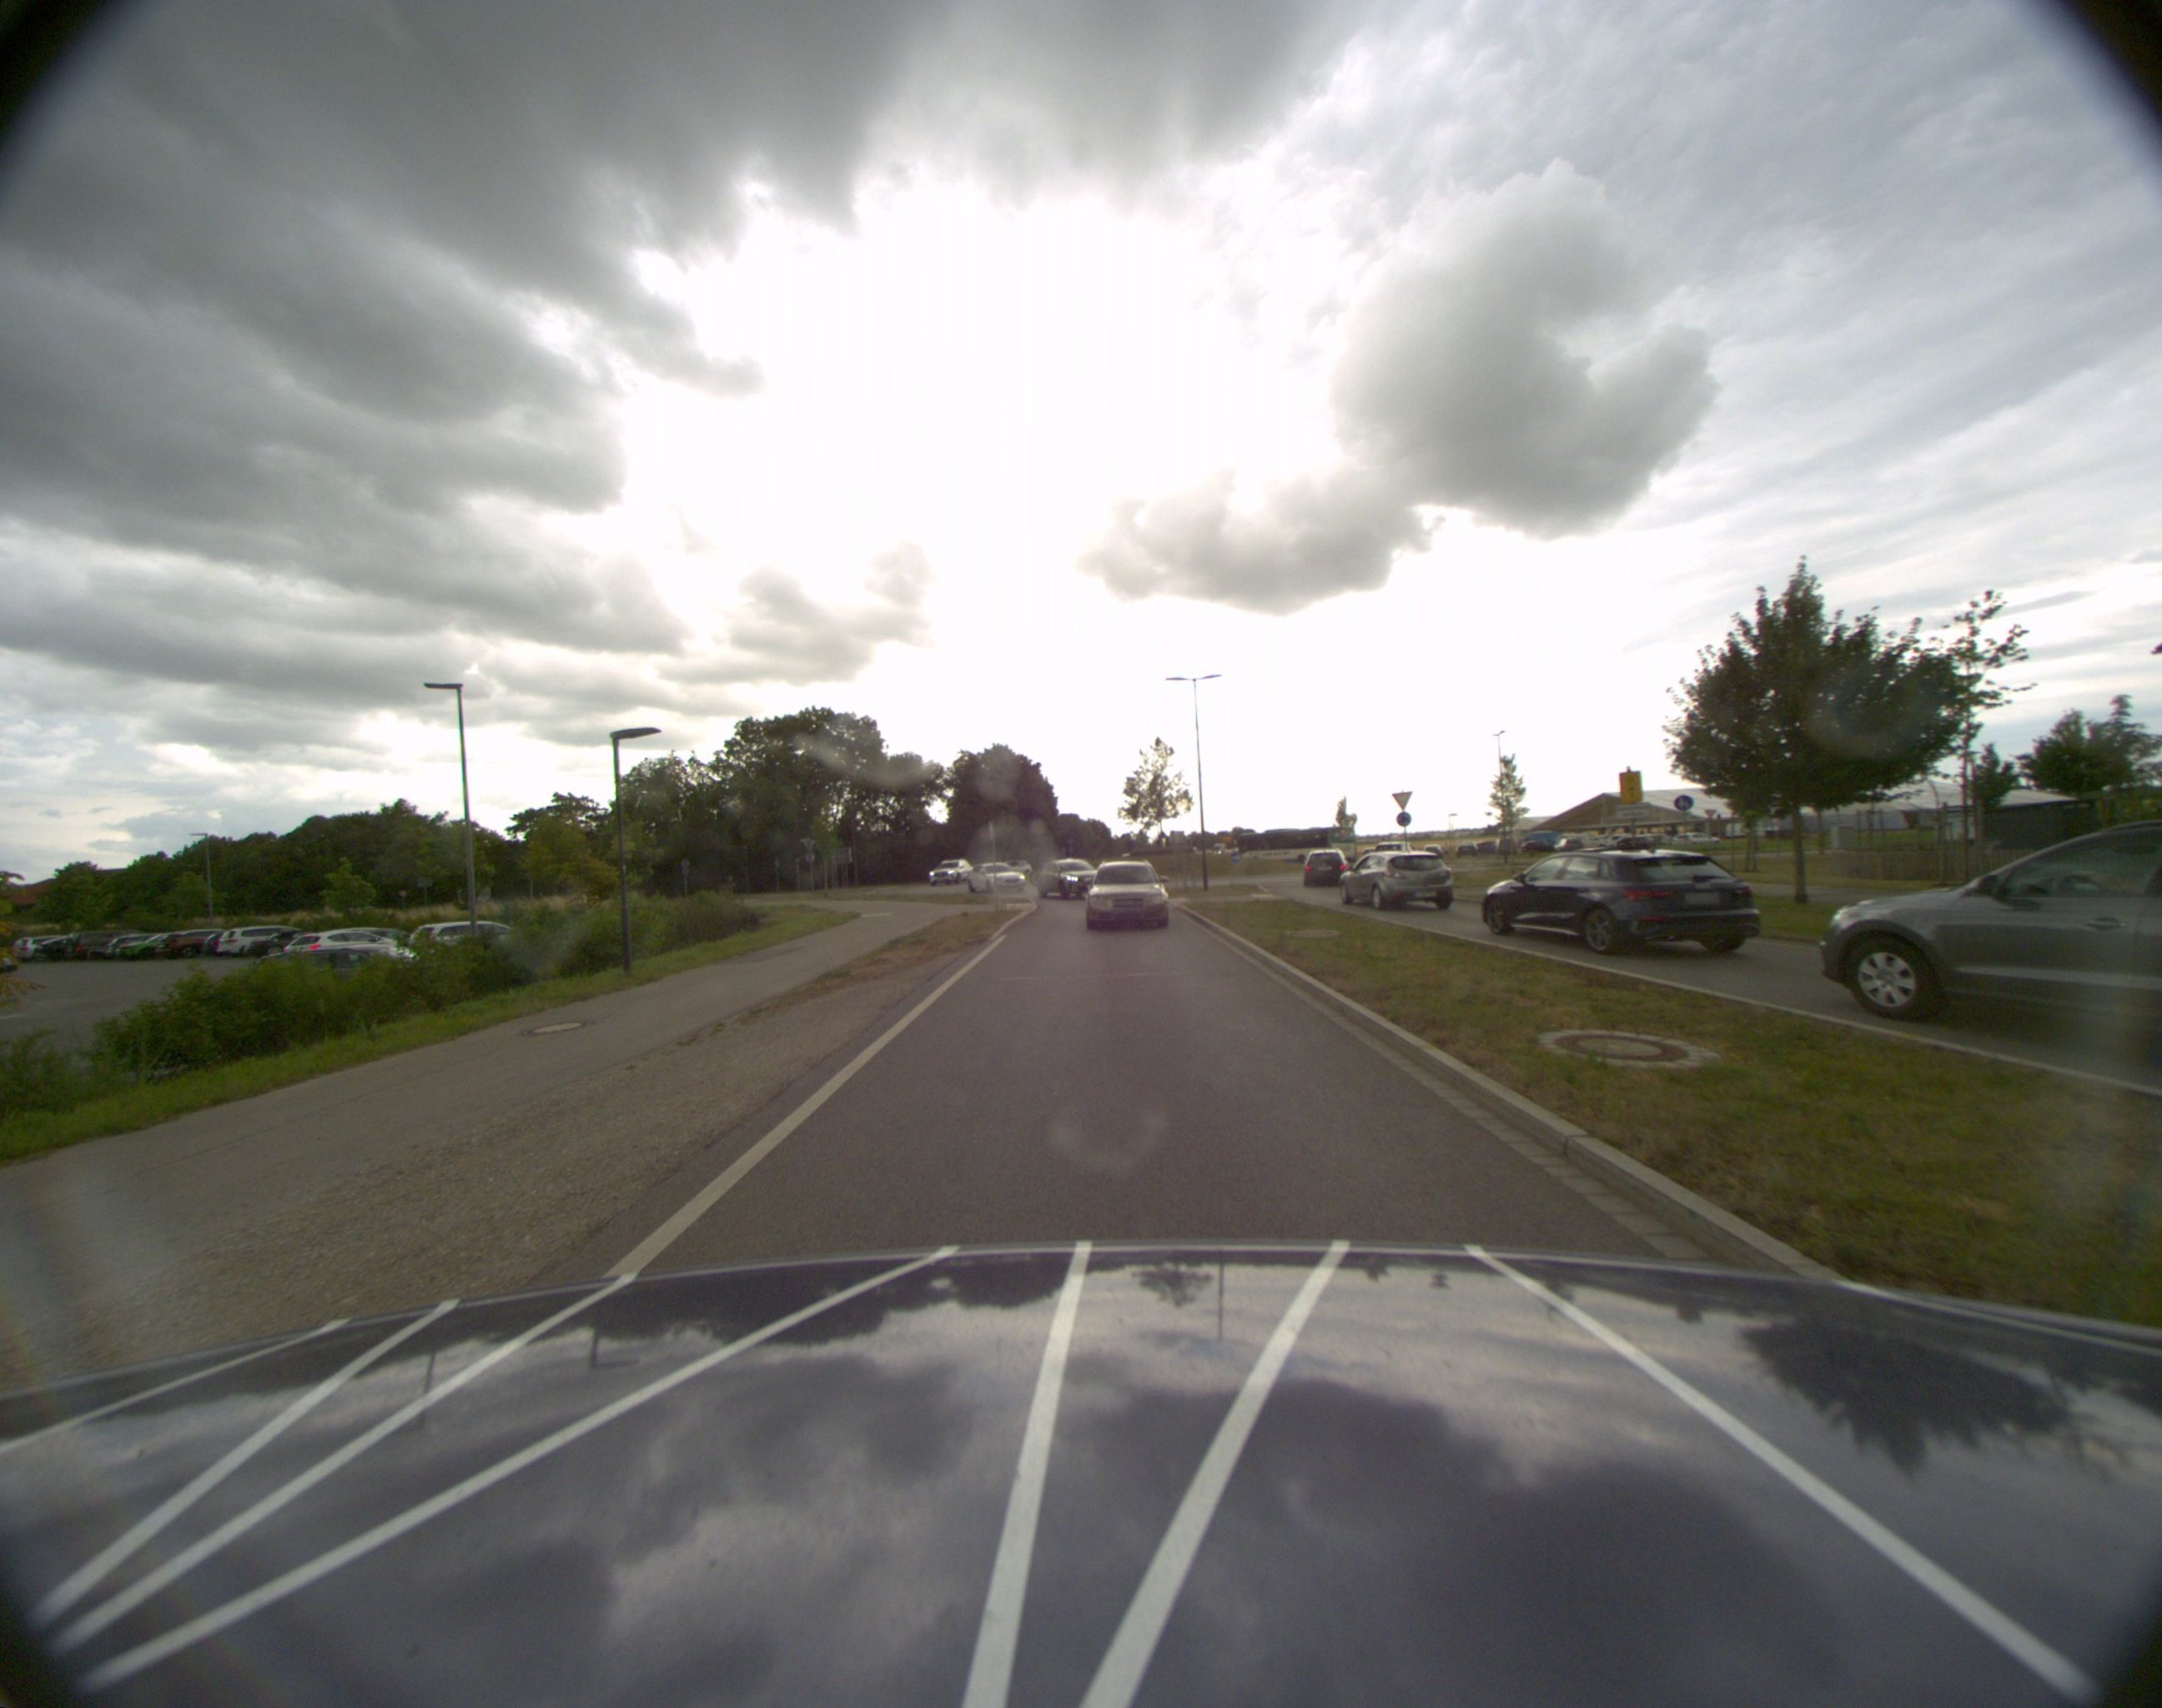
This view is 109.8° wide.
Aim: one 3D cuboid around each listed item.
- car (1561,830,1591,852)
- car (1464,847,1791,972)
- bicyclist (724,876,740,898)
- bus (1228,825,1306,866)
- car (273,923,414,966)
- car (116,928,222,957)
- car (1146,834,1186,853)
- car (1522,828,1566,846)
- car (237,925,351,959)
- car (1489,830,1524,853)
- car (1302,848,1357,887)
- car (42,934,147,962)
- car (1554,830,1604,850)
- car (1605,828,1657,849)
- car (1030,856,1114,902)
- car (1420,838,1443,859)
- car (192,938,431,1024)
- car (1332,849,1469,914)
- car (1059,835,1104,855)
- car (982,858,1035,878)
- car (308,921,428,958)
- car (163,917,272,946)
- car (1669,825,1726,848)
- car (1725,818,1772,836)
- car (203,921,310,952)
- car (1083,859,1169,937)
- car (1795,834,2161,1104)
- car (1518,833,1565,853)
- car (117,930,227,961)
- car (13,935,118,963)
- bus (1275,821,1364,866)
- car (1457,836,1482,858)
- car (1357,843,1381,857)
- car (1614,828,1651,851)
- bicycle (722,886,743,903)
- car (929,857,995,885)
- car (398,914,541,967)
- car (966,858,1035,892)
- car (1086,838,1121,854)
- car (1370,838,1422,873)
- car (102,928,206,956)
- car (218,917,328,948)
[{"bbox_3d":[46.958,-1.196,72.120,1.995,2.002,4.007,-2,0,29],"label":"car"},{"bbox_3d":[7.775,0.687,11.465,1.830,1.480,4.350,-2,0,1],"label":"car"},{"bbox_3d":[-20.002,1.878,43.579,0.657,1.236,0.556,-1,1,41],"label":"bicyclist"},{"bbox_3d":[15.636,-0.671,64.493,2.996,3.261,6.690,-2,0,-22],"label":"bus"},{"bbox_3d":[-31.904,3.889,33.019,1.841,1.352,4.004,-2,0,12],"label":"car"},{"bbox_3d":[-57.925,5.588,48.334,1.697,1.352,4.007,-2,0,28],"label":"car"},{"bbox_3d":[8.177,-1.022,72.955,1.994,1.674,4.008,-2,0,38],"label":"car"},{"bbox_3d":[53.257,-1.953,87.452,4.001,2.002,1.998,-2,0,-12],"label":"car"},{"bbox_3d":[-43.168,4.799,41.790,1.697,1.352,4.007,-2,0,28],"label":"car"},{"bbox_3d":[40.439,-1.173,72.237,1.996,2.002,4.005,-2,0,16],"label":"car"},{"bbox_3d":[10.153,0.509,31.306,1.828,1.480,4.341,-2,0,14],"label":"car"},{"bbox_3d":[-65.893,6.267,50.833,1.697,1.352,4.007,-2,0,28],"label":"car"},{"bbox_3d":[52.448,-1.471,80.054,4.000,2.002,1.999,-2,0,-8],"label":"car"},{"bbox_3d":[54.953,-1.550,75.936,4.001,2.002,1.998,-2,0,-12],"label":"car"},{"bbox_3d":[-0.473,0.936,30.648,1.872,1.578,5.055,-4,1,-18],"label":"car"},{"bbox_3d":[34.945,-0.578,75.665,1.995,2.002,4.007,-2,0,25],"label":"car"},{"bbox_3d":[-18.467,3.016,18.361,3.997,1.696,1.657,-2,0,-1],"label":"car"},{"bbox_3d":[8.158,0.649,19.842,1.830,1.480,4.216,-2,0,1],"label":"car"},{"bbox_3d":[0.098,-0.855,73.402,1.995,1.794,4.781,-2,0,33],"label":"car"},{"bbox_3d":[-5.777,1.099,60.861,3.778,1.510,1.994,-2,0,-43],"label":"car"},{"bbox_3d":[-35.524,4.217,37.977,1.697,1.352,4.007,-2,0,28],"label":"car"},{"bbox_3d":[-52.131,4.648,45.959,1.697,1.352,4.007,-2,0,28],"label":"car"},{"bbox_3d":[56.896,-1.615,70.111,4.001,2.002,1.998,-2,0,-12],"label":"car"},{"bbox_3d":[82.295,-3.332,93.672,4.568,2.002,1.998,-2,0,-12],"label":"car"},{"bbox_3d":[-49.326,4.901,45.528,1.697,1.352,4.007,-2,0,28],"label":"car"},{"bbox_3d":[1.043,0.905,17.365,1.700,1.458,4.001,-2,1,4],"label":"car"},{"bbox_3d":[7.311,0.664,4.702,1.830,1.573,4.216,-2,0,1],"label":"car"},{"bbox_3d":[50.416,-1.189,83.220,4.001,2.002,1.998,-2,0,-12],"label":"car"},{"bbox_3d":[-55.402,5.532,46.404,1.697,1.352,4.007,-2,0,28],"label":"car"},{"bbox_3d":[-68.873,6.407,51.605,1.697,1.352,4.007,-2,0,28],"label":"car"},{"bbox_3d":[18.216,-0.756,58.430,2.996,3.261,6.473,-2,0,-22],"label":"bus"},{"bbox_3d":[37.685,-0.660,73.811,1.995,2.002,4.007,-2,0,25],"label":"car"},{"bbox_3d":[29.630,-0.421,78.162,1.995,1.280,4.007,-2,0,25],"label":"car"},{"bbox_3d":[50.270,-1.296,69.300,2.227,2.002,4.007,-2,0,29],"label":"car"},{"bbox_3d":[-19.990,2.327,43.595,1.297,0.956,0.569,-2,0,41],"label":"bicycle"},{"bbox_3d":[-7.977,1.133,50.821,4.003,1.674,1.997,-2,0,-19],"label":"car"},{"bbox_3d":[-25.279,3.519,31.560,1.697,1.707,4.250,-2,0,28],"label":"car"},{"bbox_3d":[-4.090,1.042,38.080,1.874,1.533,4.190,-4,1,-30],"label":"car"},{"bbox_3d":[2.557,-0.906,84.828,1.995,1.674,4.008,-2,0,33],"label":"car"},{"bbox_3d":[17.016,0.049,40.932,1.826,1.712,4.407,-1,2,32],"label":"car"},{"bbox_3d":[-60.355,5.713,49.562,1.697,1.352,4.007,-2,0,28],"label":"car"},{"bbox_3d":[-46.584,4.485,43.893,1.697,1.352,4.007,-2,0,28],"label":"car"}]
